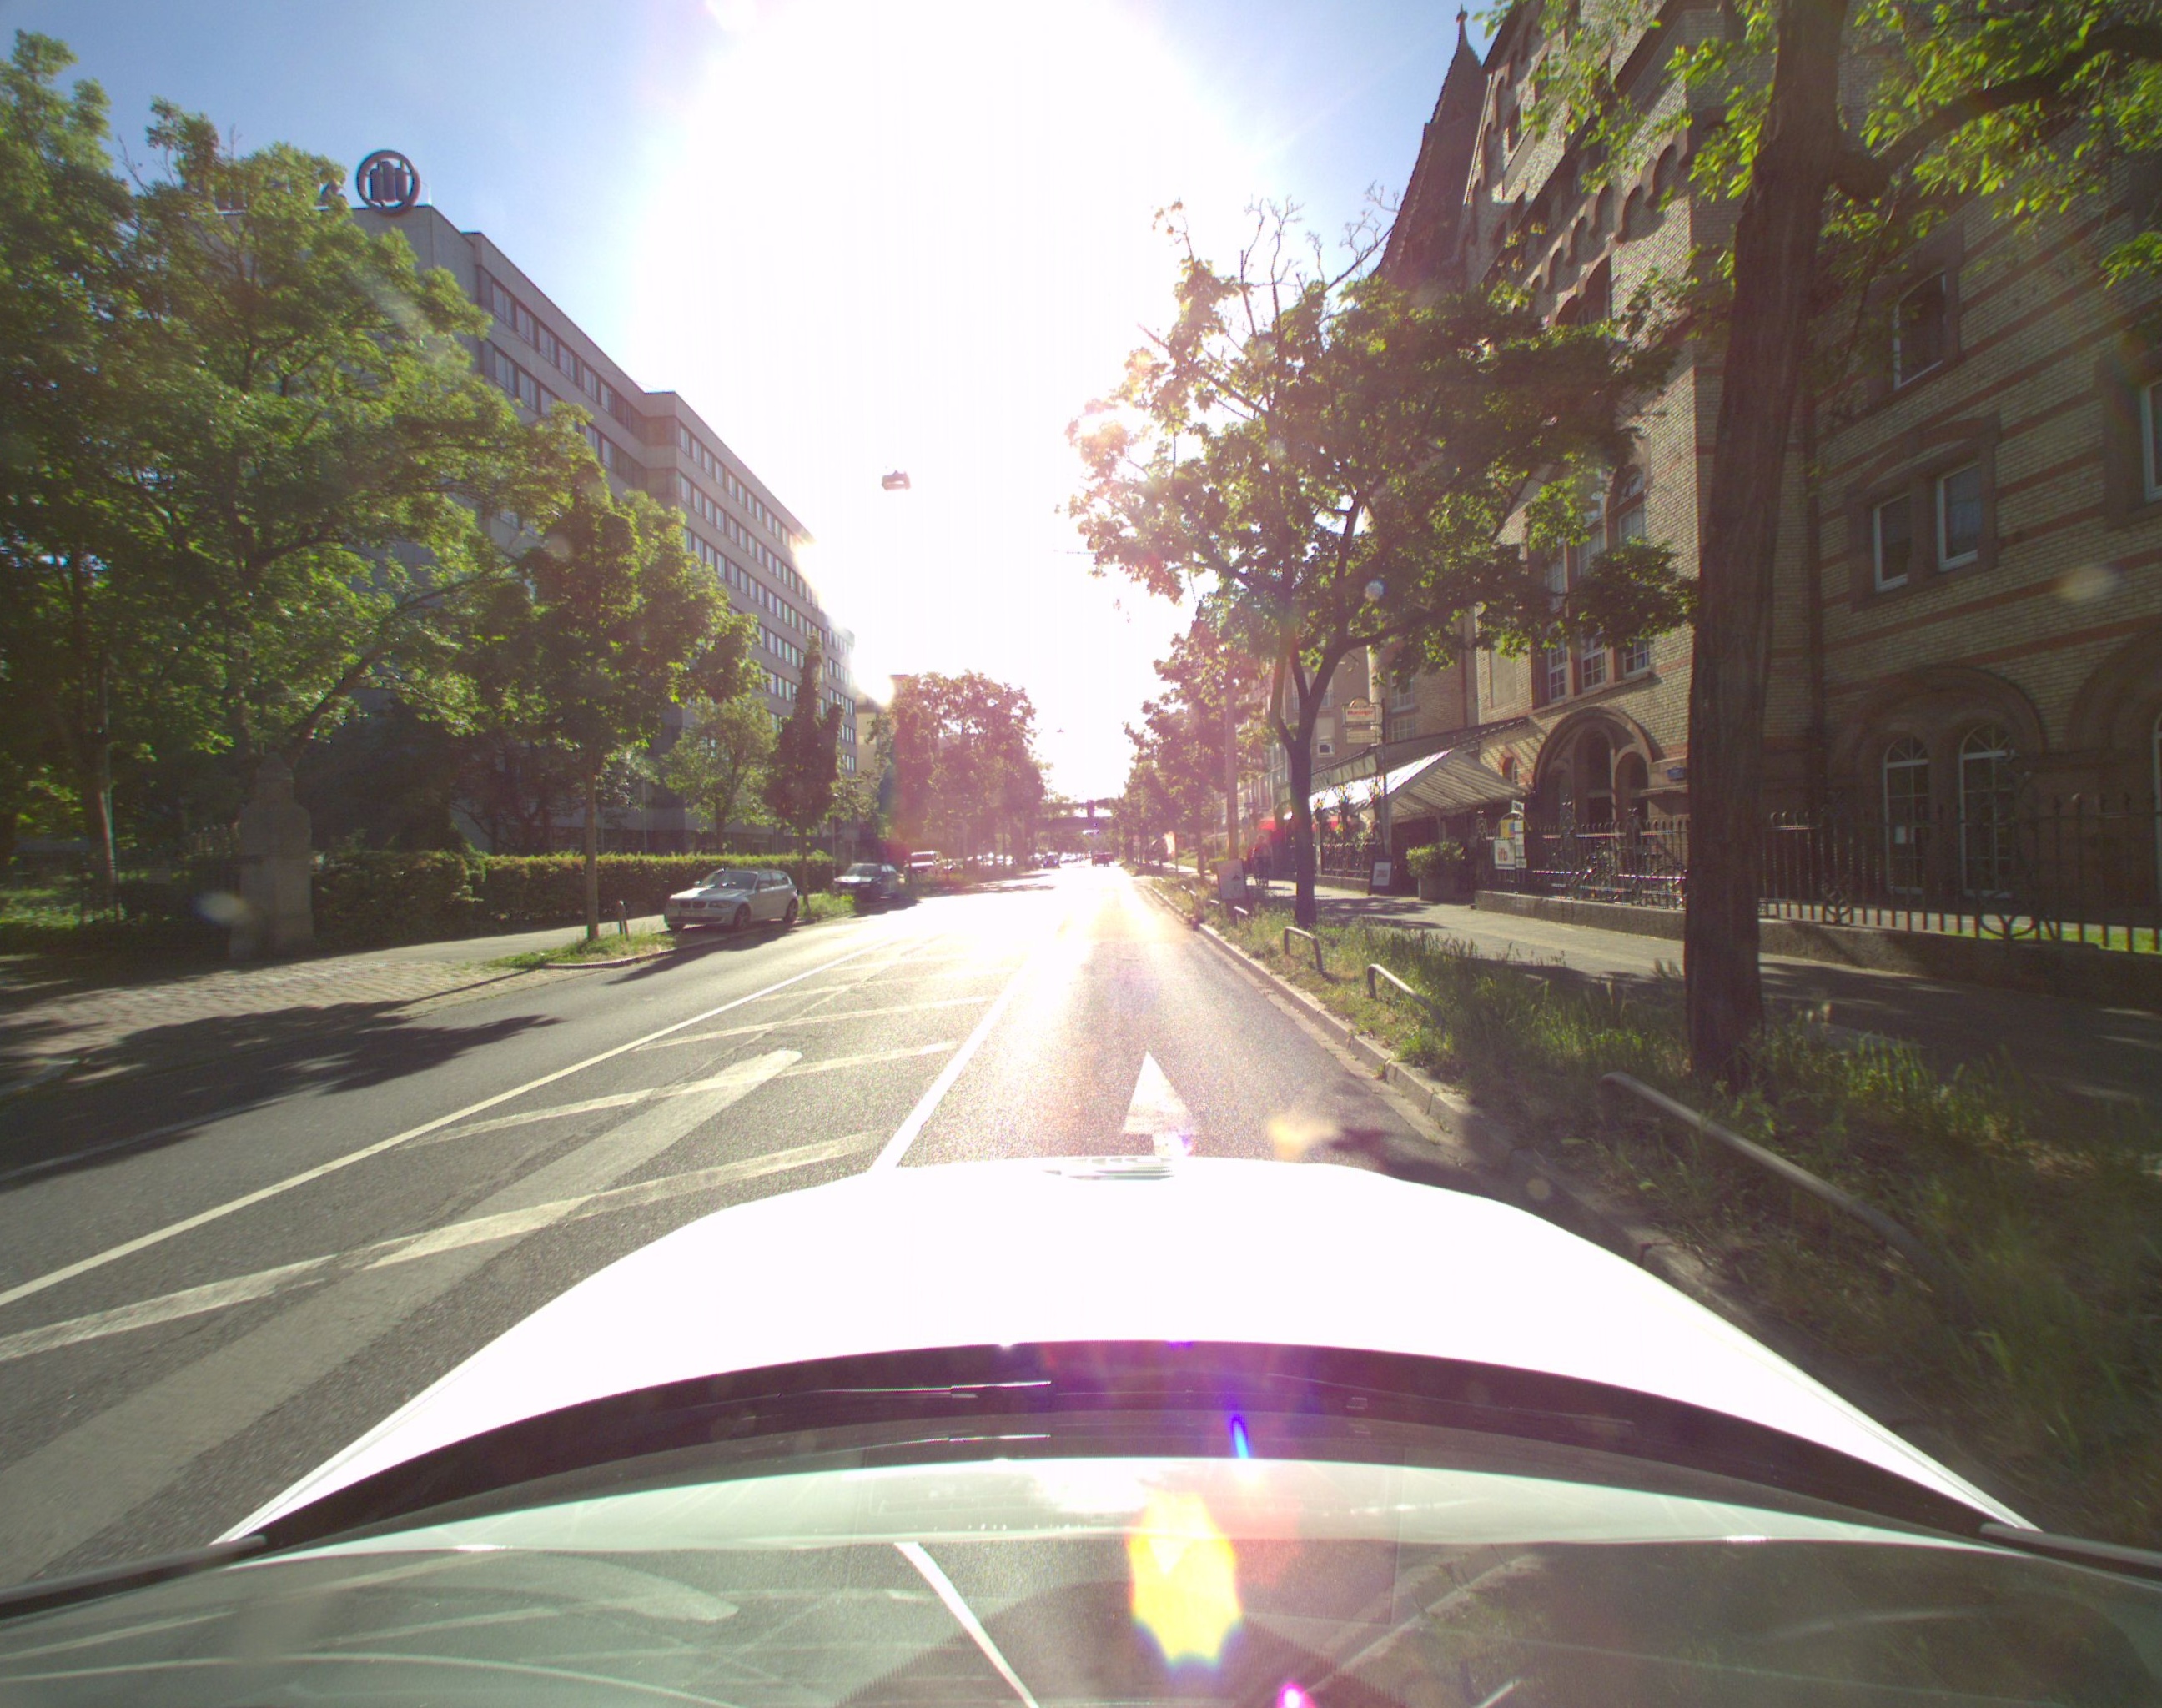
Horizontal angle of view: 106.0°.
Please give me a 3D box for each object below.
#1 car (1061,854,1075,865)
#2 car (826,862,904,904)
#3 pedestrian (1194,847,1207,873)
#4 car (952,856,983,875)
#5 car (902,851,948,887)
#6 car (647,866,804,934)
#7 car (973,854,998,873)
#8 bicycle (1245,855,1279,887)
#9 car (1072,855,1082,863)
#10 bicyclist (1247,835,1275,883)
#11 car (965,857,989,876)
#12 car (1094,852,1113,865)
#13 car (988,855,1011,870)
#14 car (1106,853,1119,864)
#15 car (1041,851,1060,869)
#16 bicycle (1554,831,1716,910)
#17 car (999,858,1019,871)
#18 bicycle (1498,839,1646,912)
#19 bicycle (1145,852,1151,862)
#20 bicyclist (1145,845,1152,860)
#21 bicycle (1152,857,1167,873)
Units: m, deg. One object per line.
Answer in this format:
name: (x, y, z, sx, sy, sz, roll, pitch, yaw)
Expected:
car: (-2.017, 0.834, 127.192, 1.849, 1.568, 4.716, -3, 0, 1)
car: (-8.188, 1.047, 31.220, 1.705, 1.458, 4.075, -1, 0, 3)
pedestrian: (7.744, 0.375, 52.775, 0.652, 1.604, 0.602, -5, -1, -4)
car: (-9.480, 0.978, 68.479, 1.848, 1.523, 4.066, -1, 0, 3)
car: (-10.015, 0.909, 52.699, 1.975, 2.076, 5.194, -4, 0, -1)
car: (-8.405, 1.017, 19.687, 1.680, 1.383, 4.196, 0, 0, 4)
car: (-9.321, 0.916, 79.800, 1.849, 1.850, 4.562, -1, 0, 1)
bicycle: (6.062, 0.556, 27.414, 0.683, 1.027, 2.096, -2, -1, 1)
car: (-0.793, 0.967, 157.778, 1.849, 1.440, 4.319, -3, 0, 1)
bicyclist: (6.057, 0.170, 27.450, 0.698, 1.599, 0.955, -1, -1, 0)
car: (-9.362, 1.107, 73.755, 1.852, 1.684, 4.658, -1, 0, -4)
car: (2.708, 0.535, 100.476, 1.981, 1.600, 4.135, -1, 0, -4)
car: (-8.738, 0.858, 87.582, 1.848, 1.568, 3.873, -1, 0, 2)
car: (4.599, 0.699, 119.869, 1.848, 1.523, 4.322, -1, 0, 3)
car: (-3.446, 0.662, 92.903, 1.850, 1.825, 4.610, -3, 0, 0)
bicycle: (8.912, 0.259, 13.137, 2.192, 1.179, 0.686, -1, -1, -5)
car: (-8.560, 1.219, 97.300, 1.849, 1.523, 4.319, -1, 0, 1)
bicycle: (8.531, 0.370, 14.187, 2.192, 1.179, 0.686, -1, -1, -5)
bicycle: (7.571, 0.341, 92.065, 0.587, 1.027, 1.860, -1, -1, 1)
bicyclist: (7.598, -0.166, 92.076, 0.665, 1.695, 0.889, -1, -1, 0)
bicycle: (5.443, 0.772, 56.214, 0.586, 1.066, 2.032, -2, 0, 18)
